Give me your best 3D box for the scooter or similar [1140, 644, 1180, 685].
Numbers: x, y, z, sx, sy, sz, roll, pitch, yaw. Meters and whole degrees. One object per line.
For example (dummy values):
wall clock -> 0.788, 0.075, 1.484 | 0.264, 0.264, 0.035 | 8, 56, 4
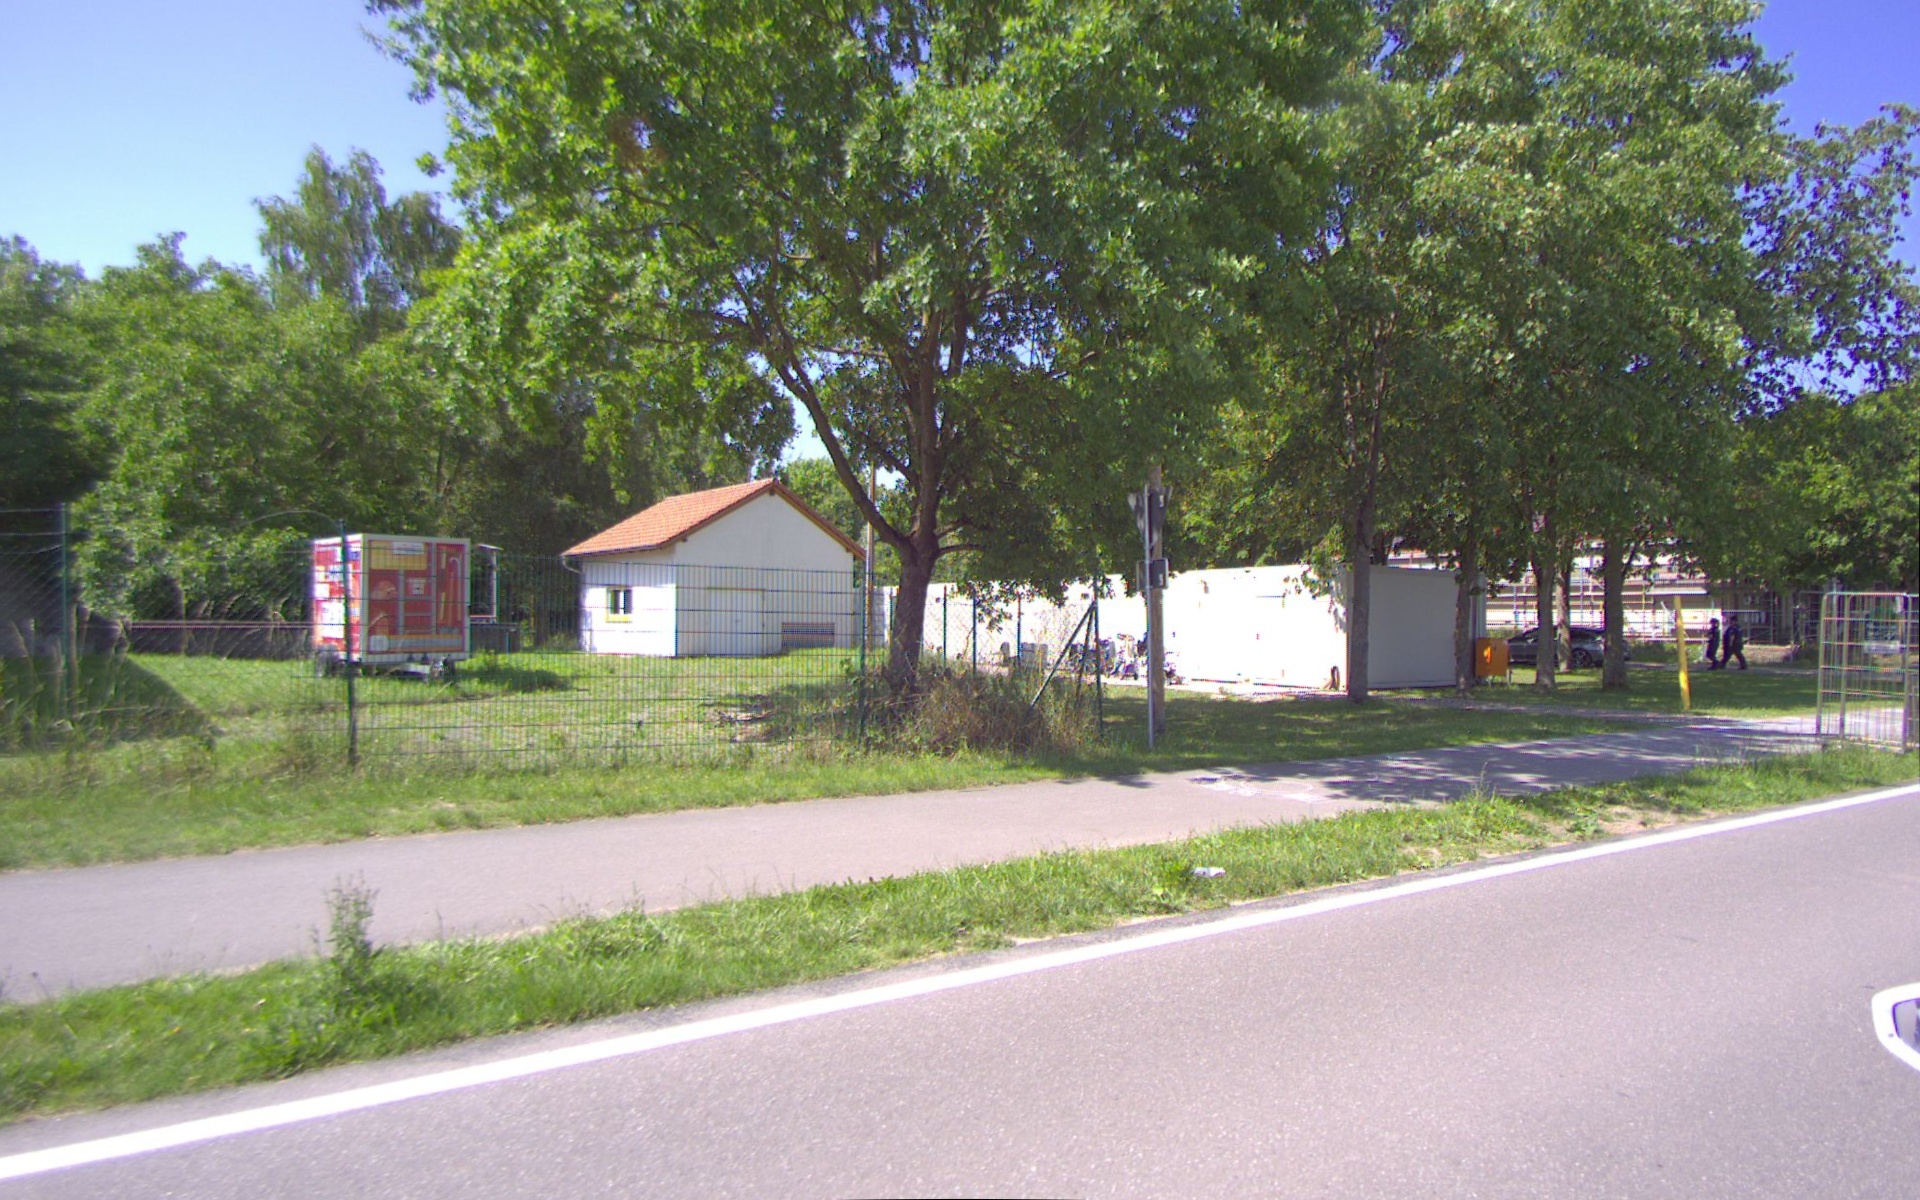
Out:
scooter or similar -> 5.092, 1.629, 25.620 | 0.529, 1.010, 0.888 | 1, -1, -35

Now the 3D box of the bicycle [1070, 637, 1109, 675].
bicycle -> 3.877, 1.674, 30.153 | 0.500, 1.096, 1.234 | 1, -1, -31

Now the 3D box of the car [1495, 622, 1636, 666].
car -> 20.707, 1.472, 34.460 | 1.743, 1.417, 3.773 | 1, -2, -37

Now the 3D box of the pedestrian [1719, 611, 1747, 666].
pedestrian -> 24.961, 1.241, 32.449 | 0.582, 1.774, 0.598 | 1, -1, -39

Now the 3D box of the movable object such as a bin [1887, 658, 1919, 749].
movable object such as a bin -> 11.432, 1.210, 11.693 | 0.737, 1.038, 0.697 | 1, -1, -22

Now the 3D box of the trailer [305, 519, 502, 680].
trailer -> -9.233, 0.046, 16.522 | 1.816, 2.307, 4.182 | 1, -2, -44

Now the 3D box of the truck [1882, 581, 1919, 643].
truck -> 41.816, 0.546, 40.975 | 5.818, 2.516, 1.999 | 1, -1, 24

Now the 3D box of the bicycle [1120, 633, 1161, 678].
bicycle -> 5.144, 1.569, 28.675 | 0.419, 1.229, 1.233 | 1, -1, -32

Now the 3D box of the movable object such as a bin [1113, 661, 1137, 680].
movable object such as a bin -> 4.498, 1.922, 27.412 | 0.294, 0.468, 0.664 | 1, -2, -34

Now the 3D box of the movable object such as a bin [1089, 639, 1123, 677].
movable object such as a bin -> 4.108, 1.632, 28.333 | 0.657, 1.027, 0.690 | 1, -1, -34

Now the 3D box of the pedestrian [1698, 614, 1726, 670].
pedestrian -> 24.152, 1.341, 32.250 | 0.582, 1.774, 0.598 | 1, -1, -39
